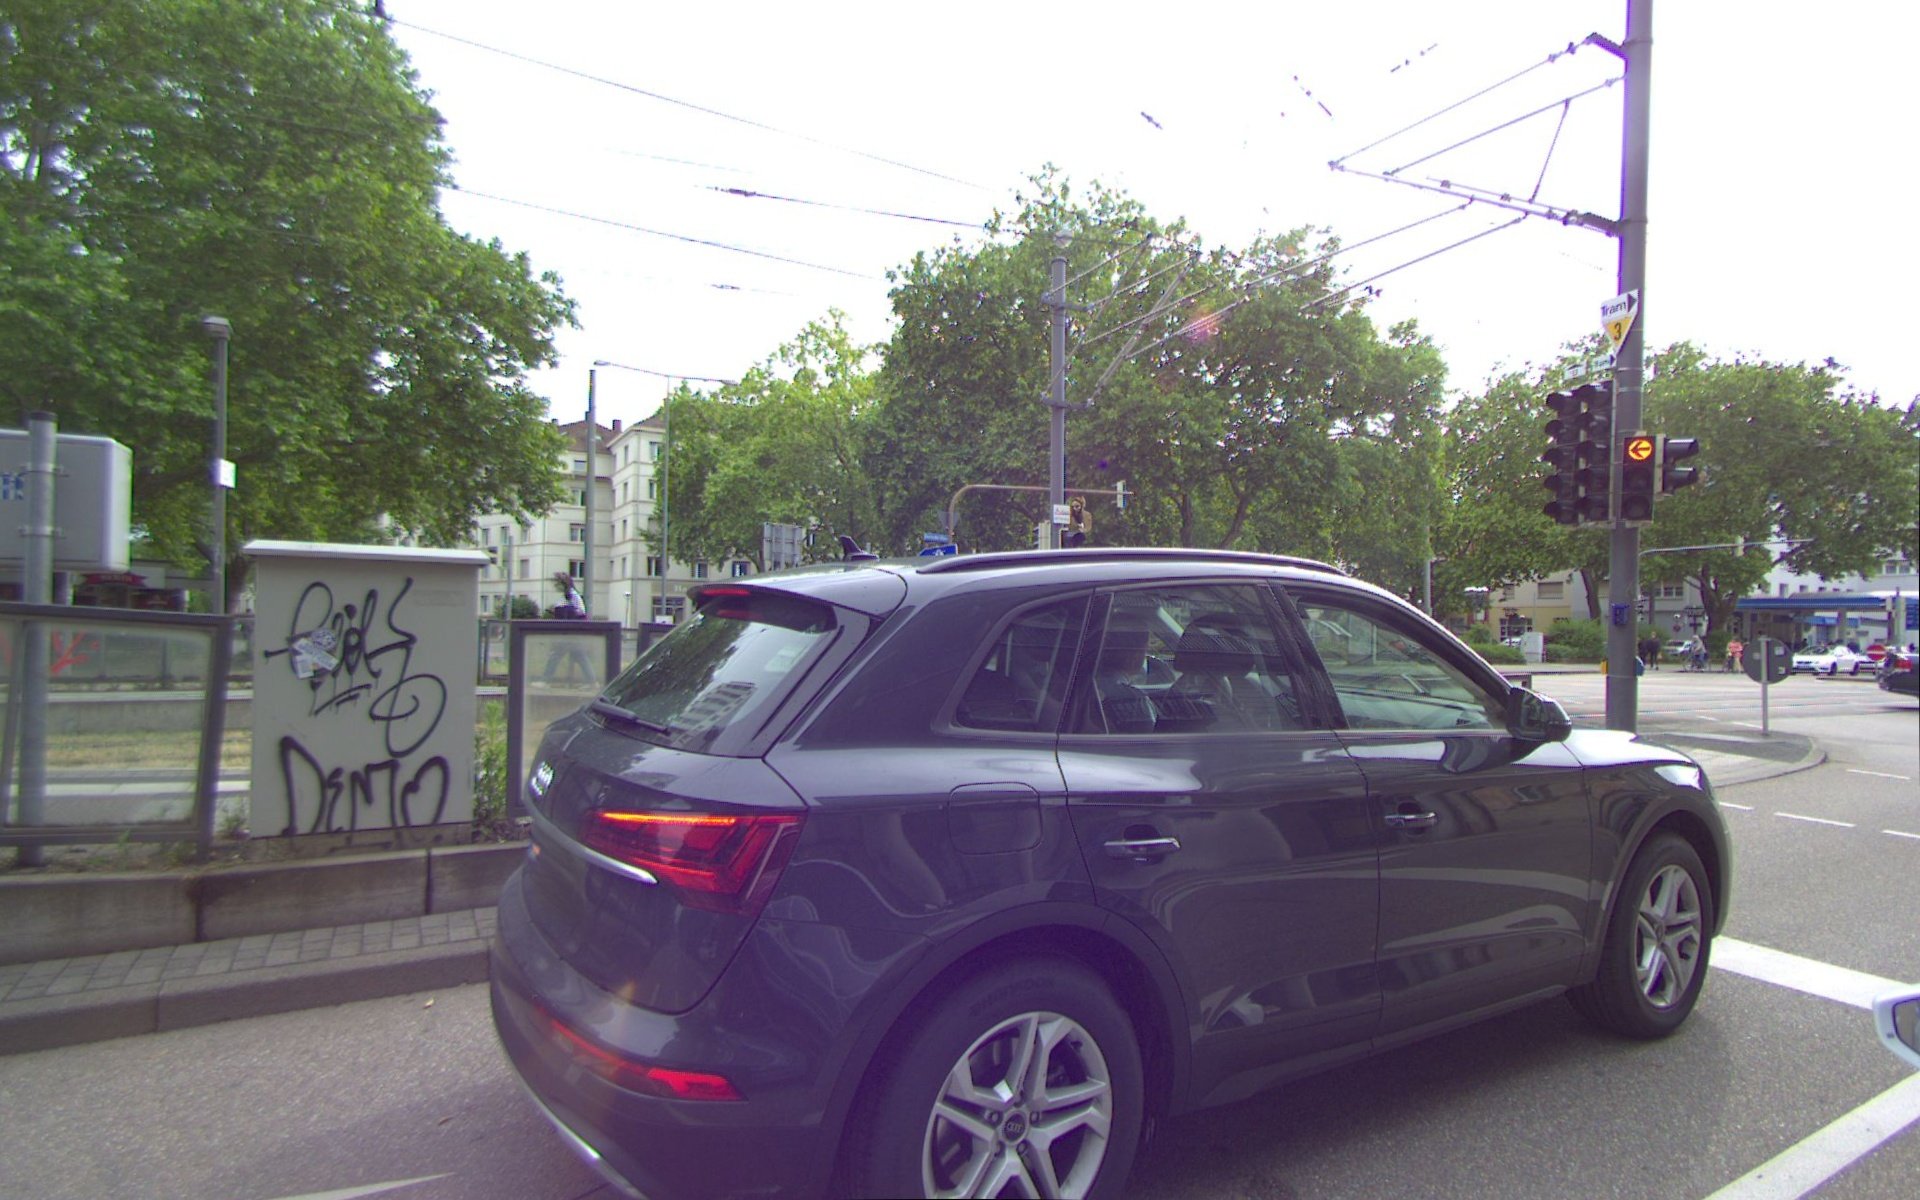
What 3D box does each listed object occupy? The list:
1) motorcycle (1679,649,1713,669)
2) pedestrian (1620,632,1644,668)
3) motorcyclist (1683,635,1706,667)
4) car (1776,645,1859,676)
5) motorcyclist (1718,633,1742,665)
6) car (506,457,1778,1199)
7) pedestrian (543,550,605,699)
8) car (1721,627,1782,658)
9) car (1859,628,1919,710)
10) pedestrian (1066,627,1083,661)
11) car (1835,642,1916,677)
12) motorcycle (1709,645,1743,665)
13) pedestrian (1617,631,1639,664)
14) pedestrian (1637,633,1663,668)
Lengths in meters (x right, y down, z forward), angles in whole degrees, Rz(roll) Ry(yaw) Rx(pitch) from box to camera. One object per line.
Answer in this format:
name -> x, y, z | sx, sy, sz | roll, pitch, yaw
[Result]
motorcycle -> 35.940, 2.861, 49.025 | 1.928, 0.941, 0.604 | 2, -1, -30
pedestrian -> 33.391, 2.488, 49.938 | 0.677, 1.735, 0.870 | 1, -1, 8
motorcyclist -> 35.799, 2.482, 48.942 | 0.863, 1.540, 0.617 | 2, -1, -30
car -> 41.336, 2.908, 48.404 | 4.025, 1.338, 1.739 | 2, 0, -29
motorcyclist -> 37.230, 2.366, 48.569 | 0.863, 1.540, 0.617 | 2, -1, -30
car -> 0.822, 0.645, 3.455 | 4.177, 1.658, 1.725 | 2, 0, -30
pedestrian -> -5.313, 0.328, 13.810 | 0.658, 1.976, 0.732 | 2, 0, -30
car -> 54.637, 2.937, 69.346 | 3.953, 2.040, 1.984 | 2, 0, -30
car -> 20.427, 1.383, 19.327 | 4.464, 1.584, 1.993 | 1, -1, 37
pedestrian -> 5.234, 2.003, 45.941 | 0.644, 1.530, 0.683 | 1, -1, -3
car -> 46.973, 3.023, 51.518 | 3.953, 1.615, 1.984 | 2, 0, -30
motorcycle -> 36.924, 2.667, 48.430 | 1.928, 0.941, 0.604 | 2, -1, -30
pedestrian -> 35.356, 2.520, 53.147 | 0.732, 1.713, 0.681 | 2, 0, -25
pedestrian -> 34.162, 2.492, 49.751 | 0.858, 1.735, 0.874 | 1, -1, 19
